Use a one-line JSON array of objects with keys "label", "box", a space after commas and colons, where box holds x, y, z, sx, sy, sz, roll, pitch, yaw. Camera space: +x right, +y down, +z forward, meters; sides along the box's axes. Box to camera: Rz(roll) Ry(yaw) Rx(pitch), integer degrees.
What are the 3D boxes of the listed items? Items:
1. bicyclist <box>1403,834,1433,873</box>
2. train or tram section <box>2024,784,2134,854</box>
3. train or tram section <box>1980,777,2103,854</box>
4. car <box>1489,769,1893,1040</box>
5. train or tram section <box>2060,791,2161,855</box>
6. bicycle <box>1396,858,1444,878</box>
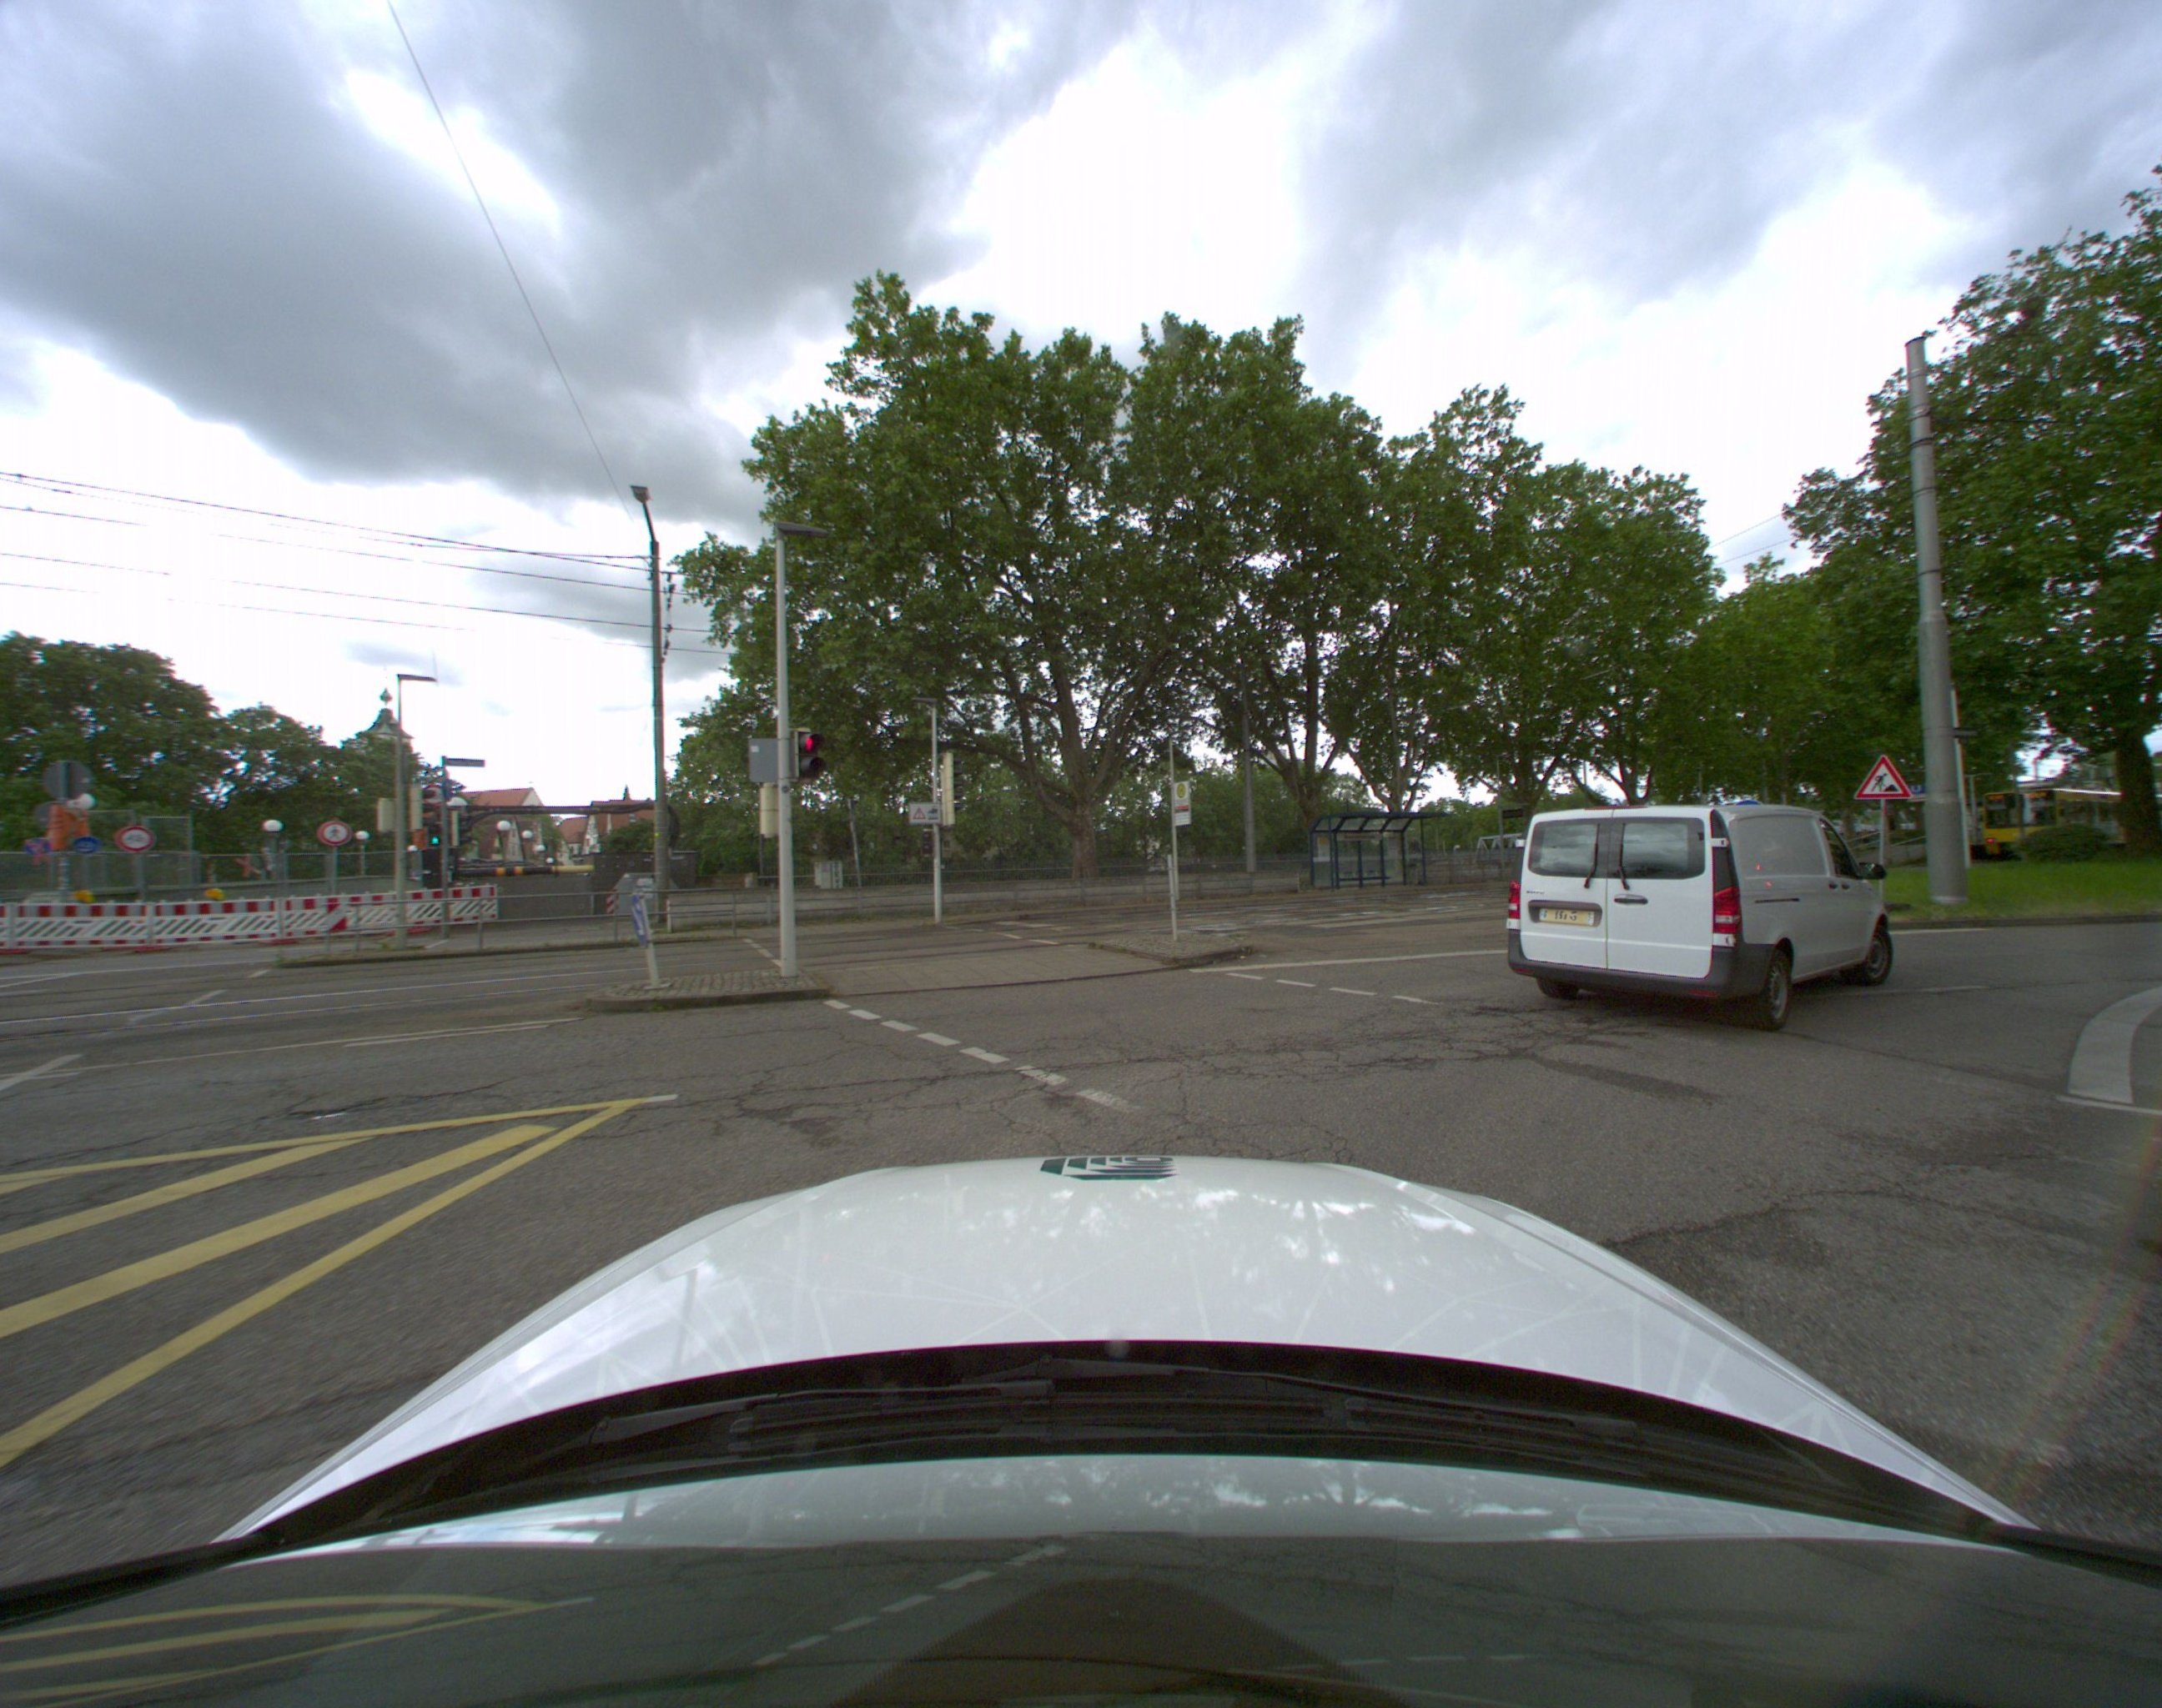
[{"label": "bicyclist", "box": [17.627, -0.027, 42.617, 0.980, 2.014, 0.949, 0, -3, -28]}, {"label": "train or tram section", "box": [55.287, -1.810, 45.070, 7.779, 3.451, 2.562, 0, -3, -30]}, {"label": "train or tram section", "box": [48.544, -1.815, 41.106, 7.779, 3.451, 2.562, 0, -3, -30]}, {"label": "car", "box": [6.298, 0.390, 8.217, 4.718, 2.014, 1.936, 0, -1, -36]}, {"label": "train or tram section", "box": [61.961, -1.770, 48.973, 7.779, 3.451, 2.562, 0, -3, -30]}, {"label": "bicycle", "box": [17.749, 0.718, 42.629, 2.504, 1.014, 0.925, 0, -3, -29]}]
